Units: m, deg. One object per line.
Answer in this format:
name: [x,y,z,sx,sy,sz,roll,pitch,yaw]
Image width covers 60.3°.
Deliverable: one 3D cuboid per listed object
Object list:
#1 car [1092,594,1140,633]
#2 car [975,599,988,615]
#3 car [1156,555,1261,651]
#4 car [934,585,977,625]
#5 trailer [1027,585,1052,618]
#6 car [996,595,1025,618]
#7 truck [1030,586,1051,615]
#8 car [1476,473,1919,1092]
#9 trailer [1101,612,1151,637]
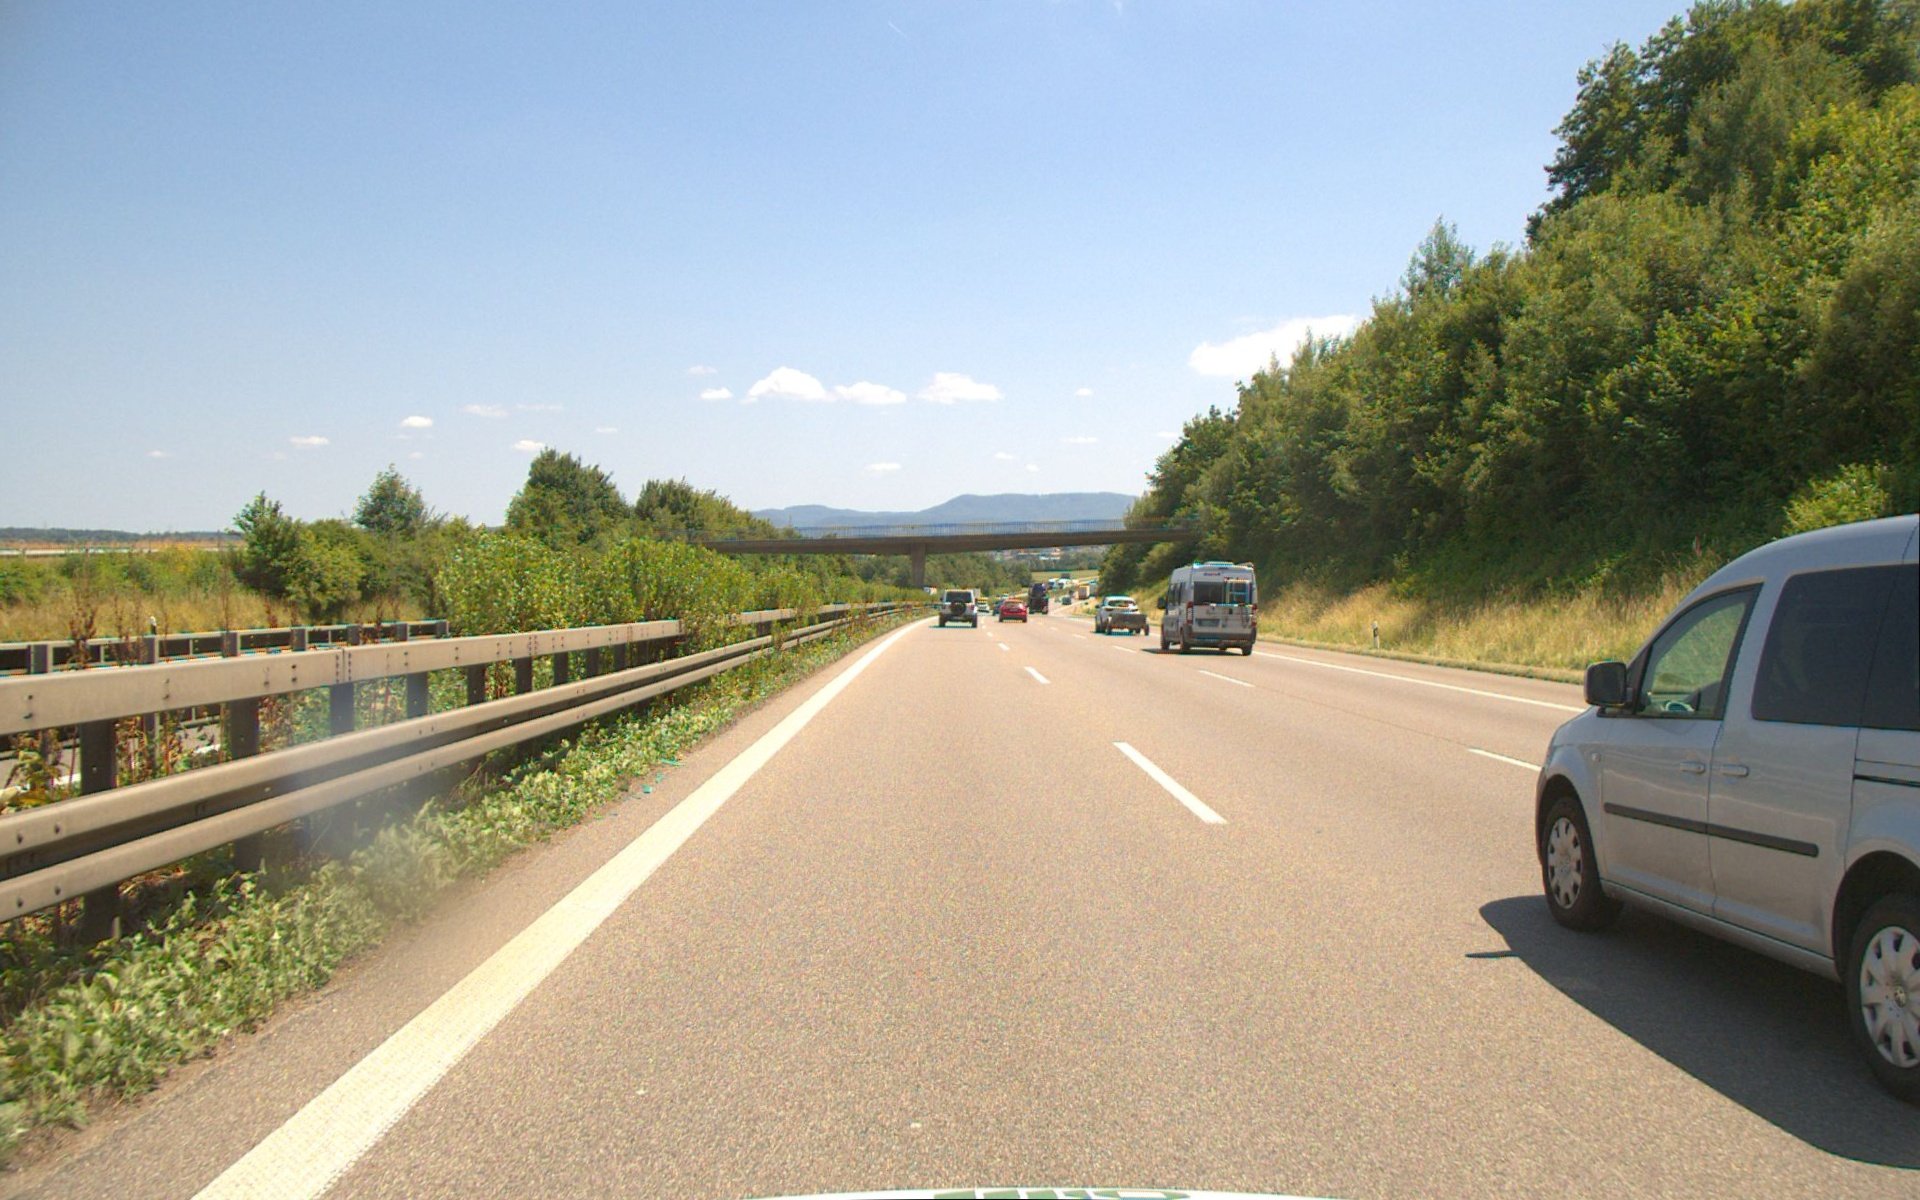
car: [7.235,0.617,76.965,1.745,1.679,4.403,1,1,-1]
car: [2.814,0.905,217.458,1.663,2.048,3.822,1,1,0]
car: [7.246,0.016,48.927,2.046,2.621,6.622,1,1,0]
car: [-0.193,0.214,83.094,2.040,1.861,4.754,1,1,1]
trailer: [10.699,0.123,221.778,2.795,4.063,15.406,1,1,4]
car: [3.236,0.396,105.866,1.651,1.403,3.948,1,1,-1]
truck: [11.211,0.039,229.466,2.696,3.920,6.648,1,1,4]
car: [3.720,0.556,6.624,1.710,1.861,4.800,1,0,-1]
trailer: [7.255,1.065,72.585,1.718,0.924,4.319,1,1,-1]
